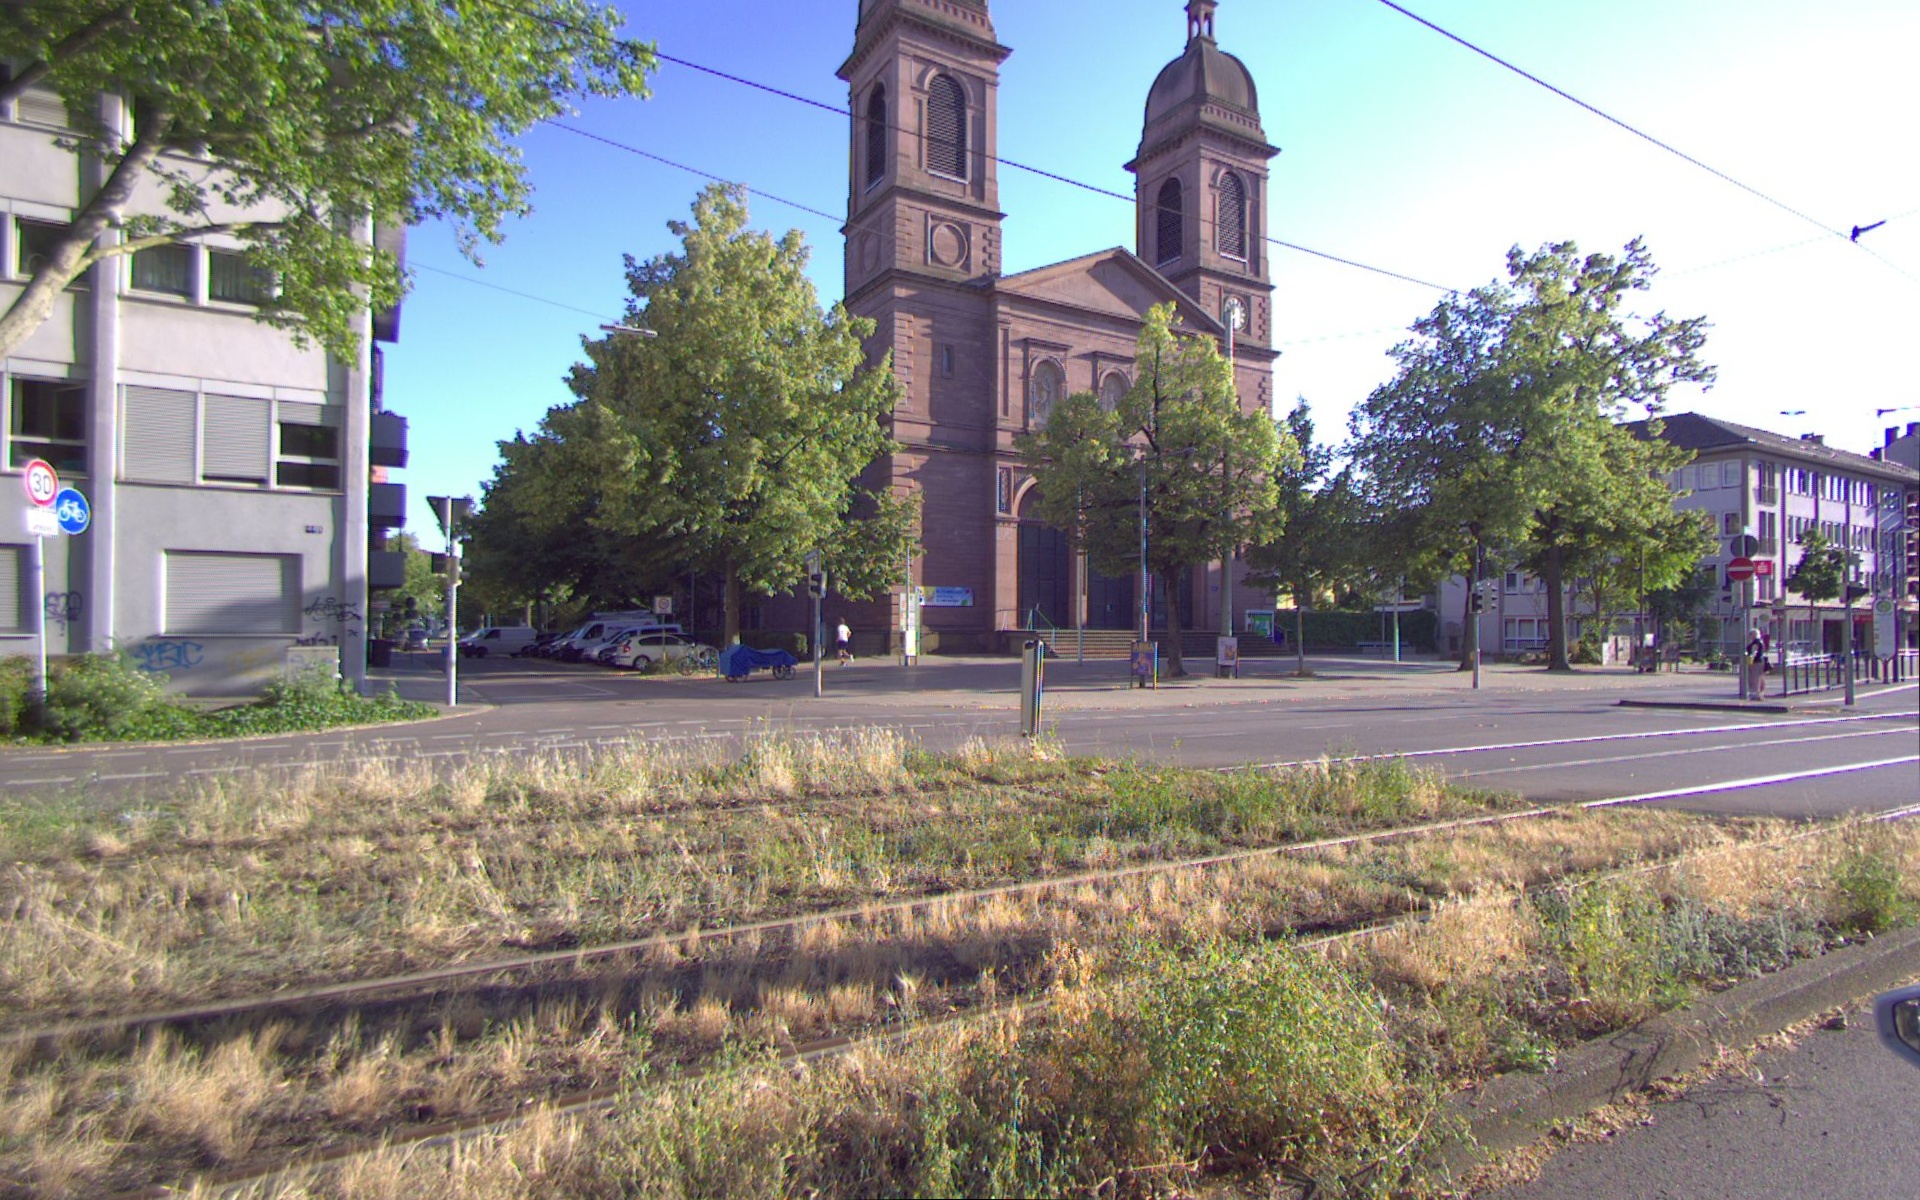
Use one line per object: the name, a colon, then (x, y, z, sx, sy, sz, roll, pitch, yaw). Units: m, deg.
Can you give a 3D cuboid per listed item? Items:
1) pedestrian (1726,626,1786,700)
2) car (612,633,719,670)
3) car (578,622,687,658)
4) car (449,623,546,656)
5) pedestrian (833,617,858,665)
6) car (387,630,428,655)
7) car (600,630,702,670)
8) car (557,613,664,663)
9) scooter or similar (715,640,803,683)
pedestrian: (19.763, 1.553, 24.940, 0.822, 1.783, 0.915, 2, -2, -29)
car: (-12.221, 2.102, 41.708, 3.953, 1.416, 1.802, 0, -1, -30)
car: (-15.670, 1.905, 48.151, 4.655, 1.684, 1.984, 1, -2, -30)
car: (-30.130, 2.539, 65.560, 1.971, 2.040, 5.398, -1, -2, 41)
pedestrian: (-4.315, 1.551, 37.833, 0.684, 1.789, 0.733, 1, -1, -31)
car: (-46.974, 3.554, 85.350, 1.985, 2.040, 5.360, 2, -2, -41)
car: (-13.501, 2.165, 43.951, 3.953, 1.639, 1.876, 1, -2, -30)
car: (-18.394, 1.988, 52.983, 5.054, 2.551, 1.984, 1, -2, -30)
scooter or similar: (-6.132, 1.851, 30.697, 2.419, 1.141, 1.088, -1, 0, -30)
